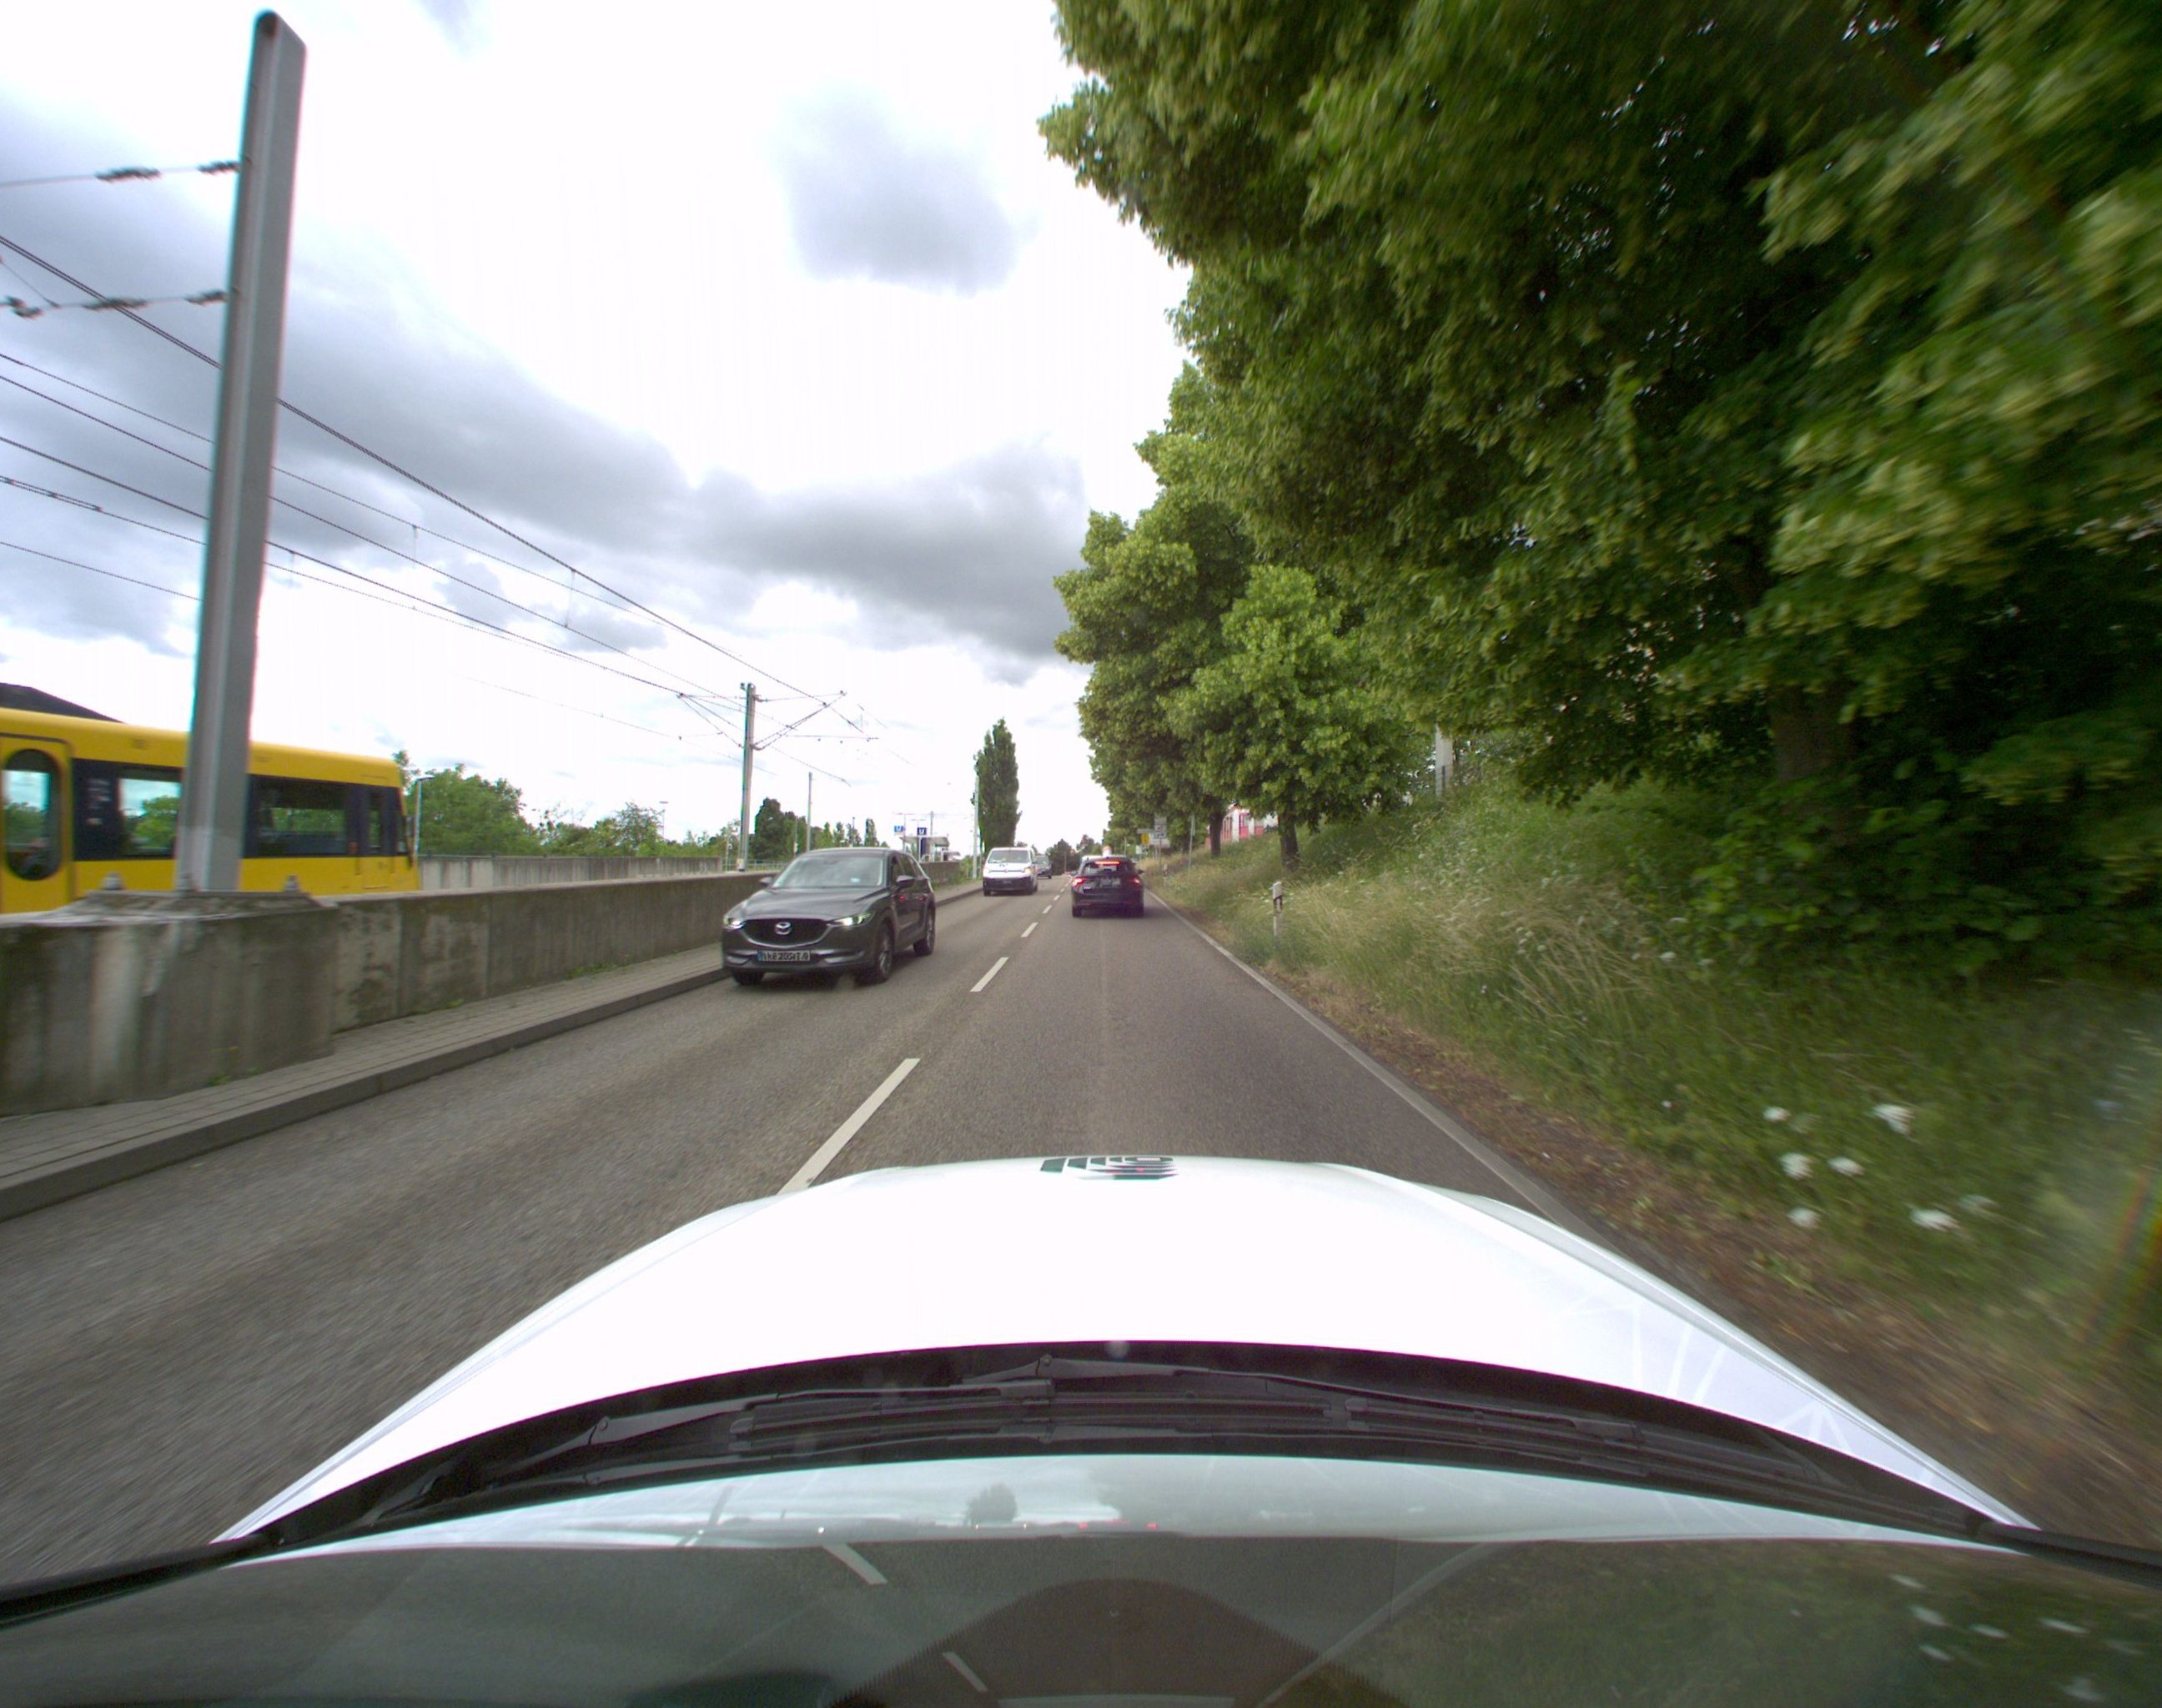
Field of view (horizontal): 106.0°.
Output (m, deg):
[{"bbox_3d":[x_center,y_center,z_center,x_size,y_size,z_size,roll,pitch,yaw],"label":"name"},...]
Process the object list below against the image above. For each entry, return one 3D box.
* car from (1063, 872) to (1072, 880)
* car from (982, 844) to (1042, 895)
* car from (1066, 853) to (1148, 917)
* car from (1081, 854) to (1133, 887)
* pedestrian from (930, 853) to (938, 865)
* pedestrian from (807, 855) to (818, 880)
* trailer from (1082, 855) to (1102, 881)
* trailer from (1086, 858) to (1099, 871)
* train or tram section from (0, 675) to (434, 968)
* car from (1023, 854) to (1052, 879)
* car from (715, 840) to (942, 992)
[{"bbox_3d":[-2.424,4.017,145.867,1.521,1.354,3.488,0,-1,-2],"label":"car"},{"bbox_3d":[-2.685,0.581,32.731,1.890,1.833,4.905,-2,0,0],"label":"car"},{"bbox_3d":[0.768,0.708,20.937,1.827,1.432,4.285,-1,0,5],"label":"car"},{"bbox_3d":[1.153,0.727,37.832,1.624,1.457,3.674,-1,0,-12],"label":"car"},{"bbox_3d":[-14.790,0.493,81.784,0.760,1.199,0.664,0,-2,-6],"label":"pedestrian"},{"bbox_3d":[-17.558,0.881,53.206,0.506,1.625,0.646,0,-1,0],"label":"pedestrian"},{"bbox_3d":[1.754,2.291,133.523,2.560,3.707,7.750,0,-5,-4],"label":"trailer"},{"bbox_3d":[1.421,1.335,101.228,1.405,1.594,3.301,0,-2,-1],"label":"trailer"},{"bbox_3d":[-13.060,-0.326,5.694,2.773,3.193,18.461,-1,0,-2],"label":"train or tram section"},{"bbox_3d":[-2.979,0.817,56.492,1.817,1.657,4.245,0,0,0],"label":"car"},{"bbox_3d":[-3.202,0.681,11.250,1.771,1.687,4.066,-1,0,1],"label":"car"}]
